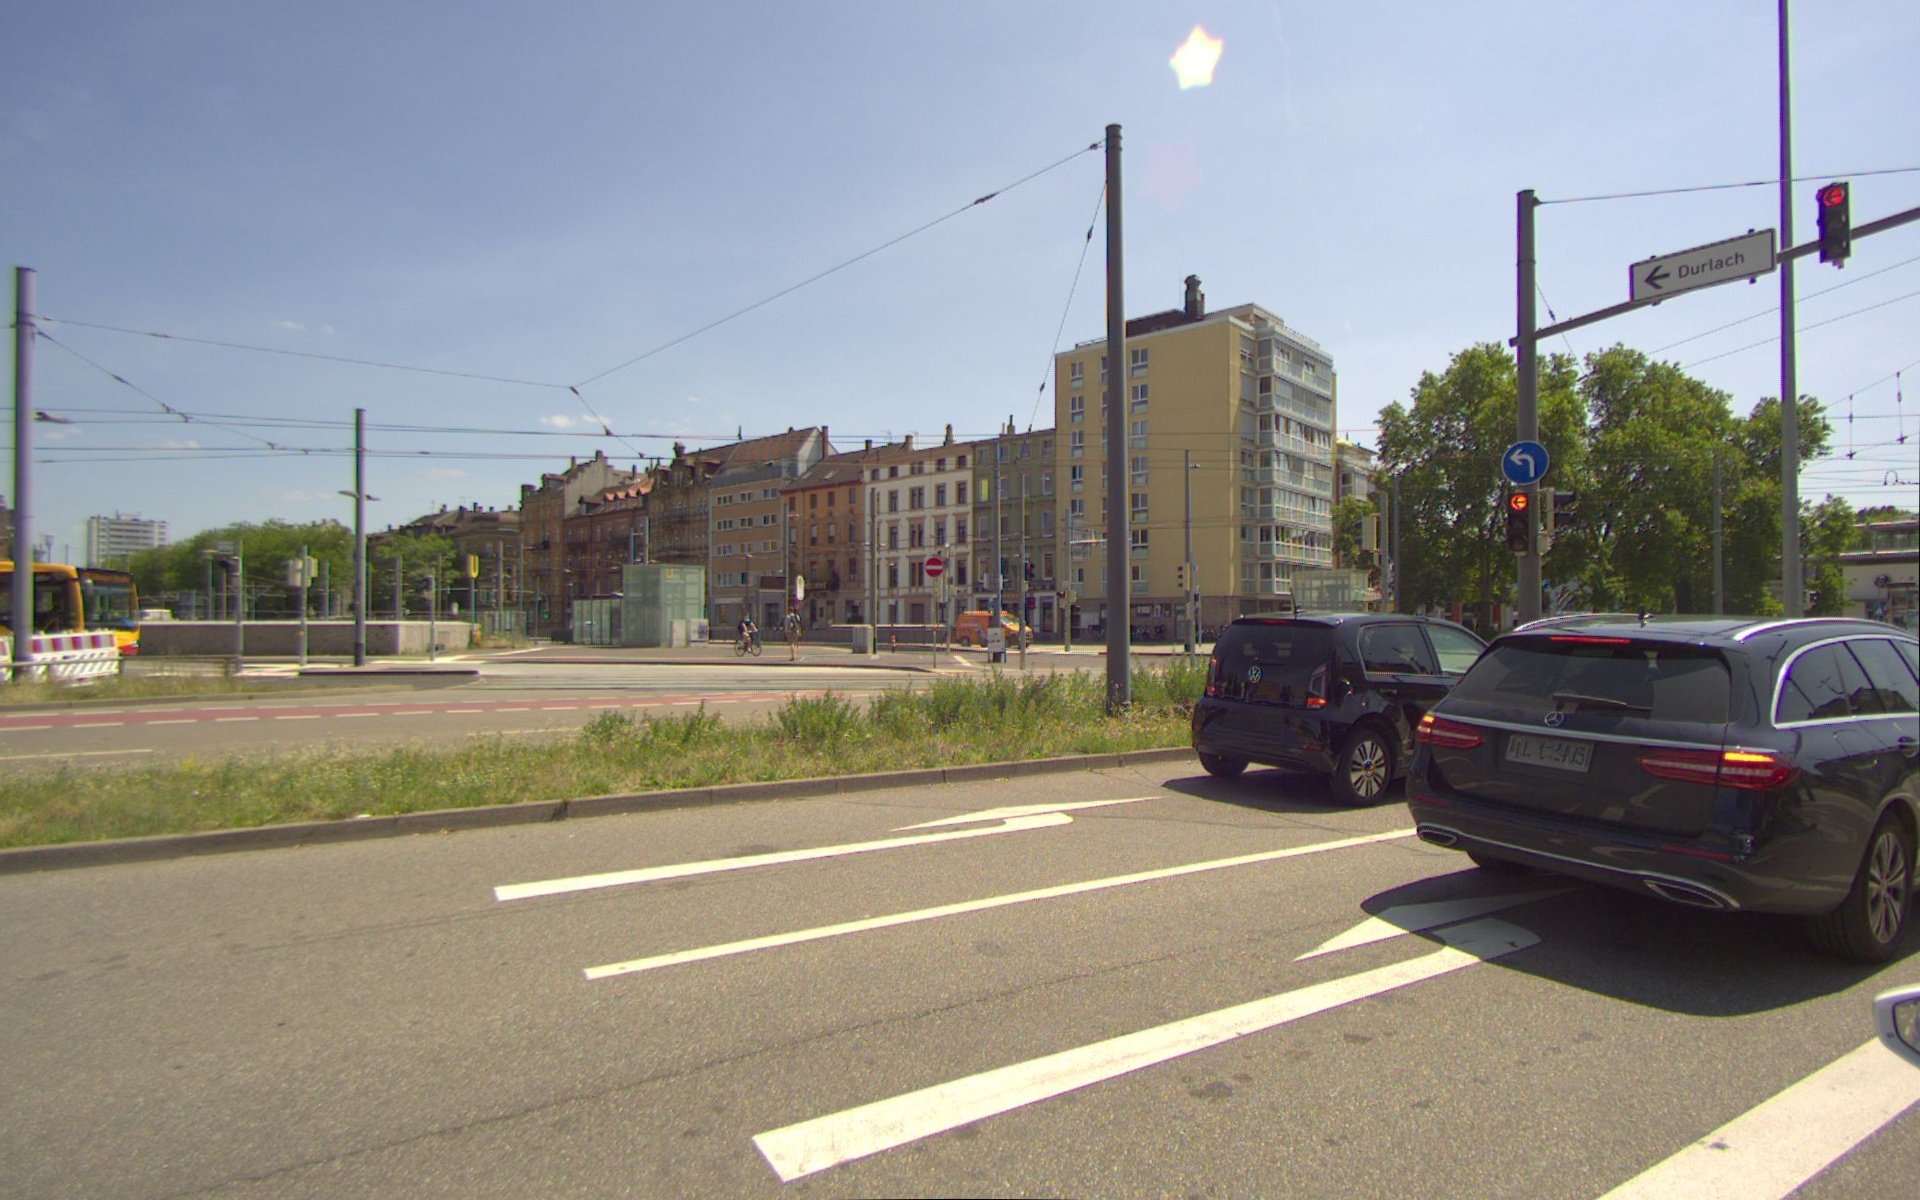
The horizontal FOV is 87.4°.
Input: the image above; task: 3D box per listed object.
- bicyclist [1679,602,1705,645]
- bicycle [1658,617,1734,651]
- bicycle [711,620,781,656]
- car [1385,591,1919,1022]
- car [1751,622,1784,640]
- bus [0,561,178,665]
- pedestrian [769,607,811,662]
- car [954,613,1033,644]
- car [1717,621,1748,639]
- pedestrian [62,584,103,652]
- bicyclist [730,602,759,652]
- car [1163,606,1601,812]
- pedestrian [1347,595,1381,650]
[{"bbox_3d":[34.148,1.093,46.864,0.652,1.964,0.759,-2,1,-32],"label":"bicyclist"},{"bbox_3d":[34.221,1.547,46.752,0.627,1.483,2.810,-2,1,-32],"label":"bicycle"},{"bbox_3d":[-9.053,1.577,42.388,3.412,1.466,0.874,-1,1,38],"label":"bicycle"},{"bbox_3d":[4.547,0.808,5.621,4.535,1.577,1.708,1,-1,-32],"label":"car"},{"bbox_3d":[71.476,2.710,88.921,3.388,1.437,1.499,-1,1,-37],"label":"car"},{"bbox_3d":[-32.119,0.404,31.360,12.019,3.081,3.737,0,-1,-5],"label":"bus"},{"bbox_3d":[-6.219,1.242,36.755,1.162,1.959,0.900,-1,1,30],"label":"pedestrian"},{"bbox_3d":[1.854,1.578,56.717,1.665,1.635,4.576,-2,1,-45],"label":"car"},{"bbox_3d":[70.459,2.742,91.610,3.405,1.528,1.414,-1,1,-37],"label":"car"},{"bbox_3d":[-26.417,0.537,30.244,0.651,2.022,0.611,-1,1,0],"label":"pedestrian"},{"bbox_3d":[-9.088,1.131,42.412,0.784,2.041,0.859,-1,1,38],"label":"bicyclist"},{"bbox_3d":[3.839,0.824,8.964,3.954,1.482,1.613,1,-1,-31],"label":"car"},{"bbox_3d":[22.377,1.243,55.651,1.322,2.977,1.206,-2,1,-34],"label":"pedestrian"}]
